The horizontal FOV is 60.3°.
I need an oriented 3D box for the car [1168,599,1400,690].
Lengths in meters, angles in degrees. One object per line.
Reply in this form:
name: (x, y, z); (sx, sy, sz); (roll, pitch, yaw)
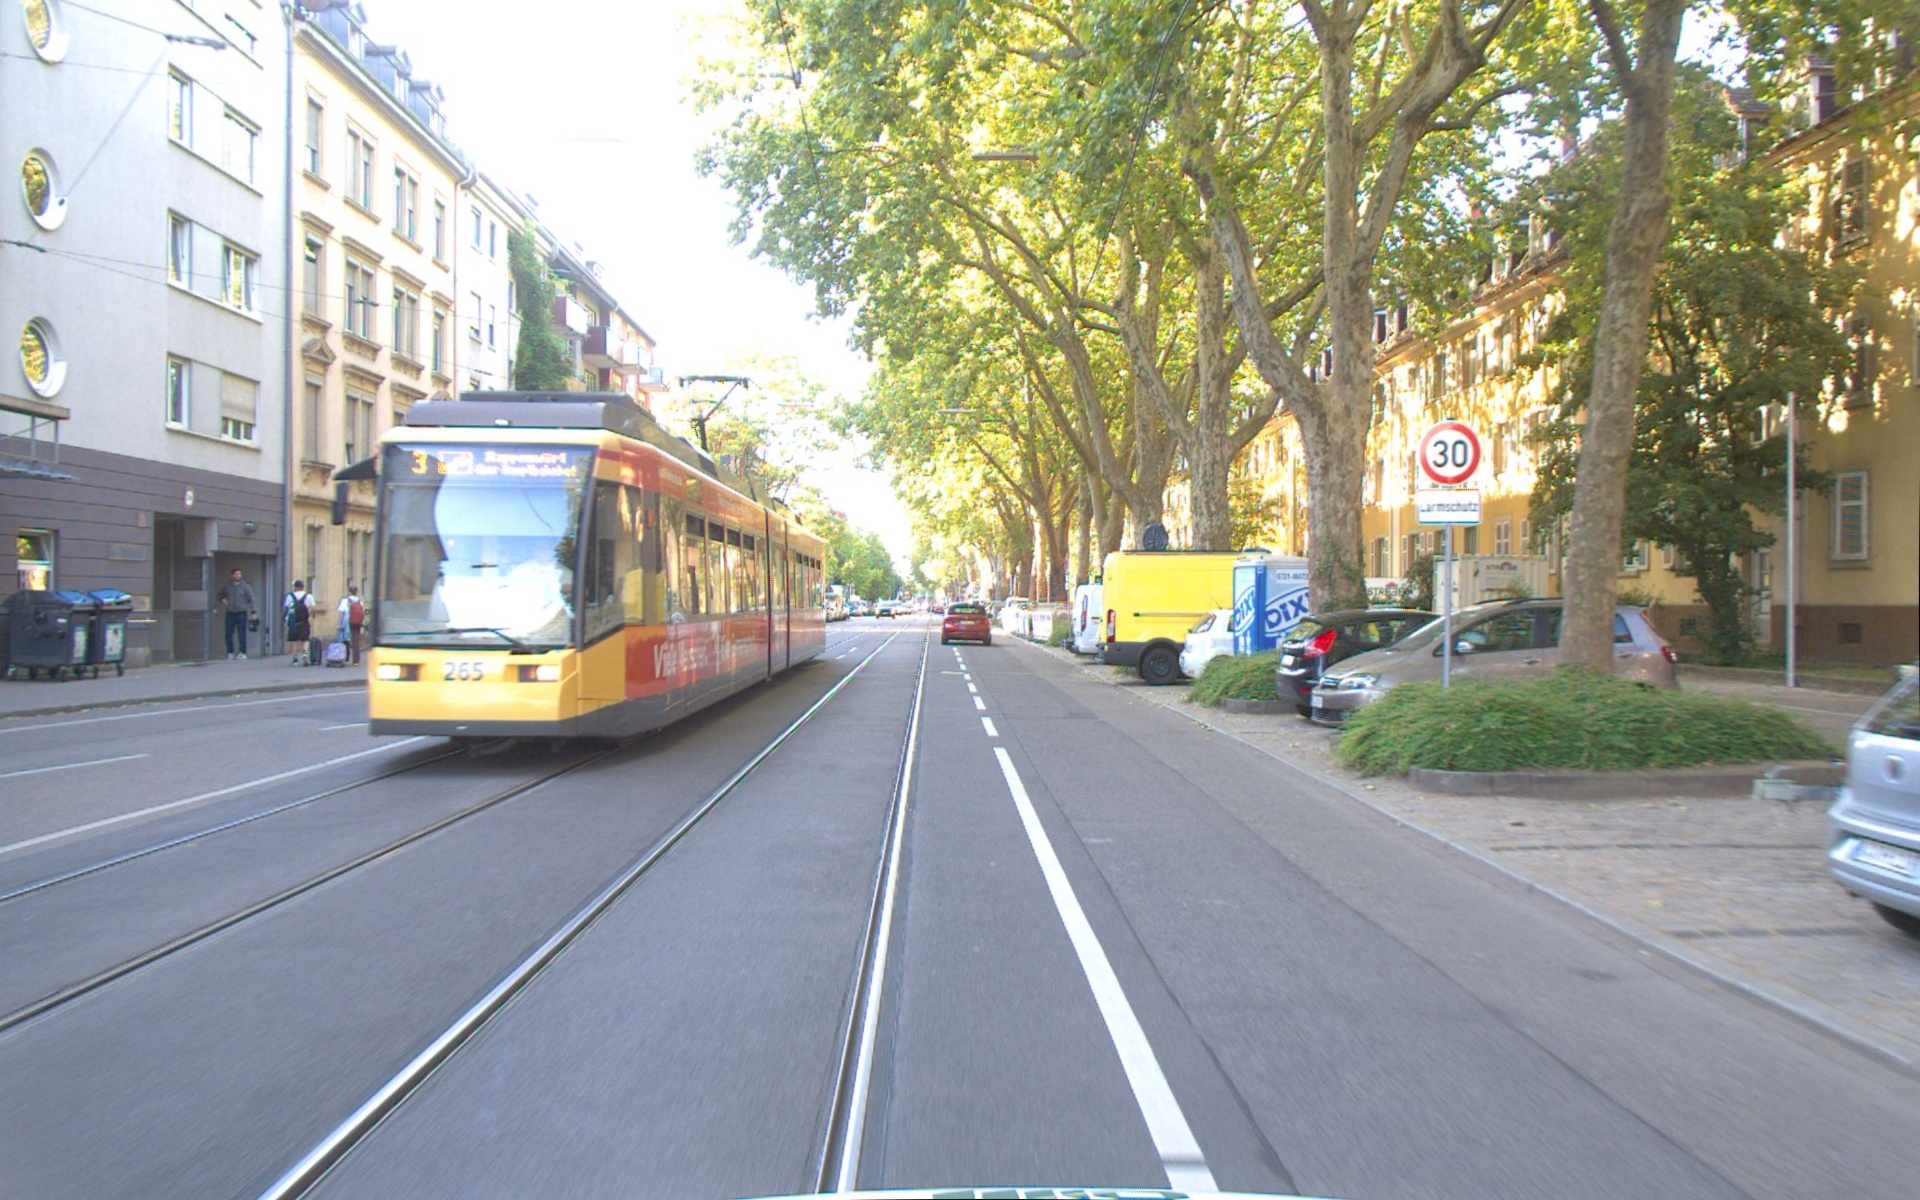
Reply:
car: (5.776, 0.779, 29.829); (3.825, 1.515, 1.863); (-1, 0, 1)

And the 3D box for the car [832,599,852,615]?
car: (-11.675, 0.683, 163.845); (1.799, 1.494, 5.066); (2, 0, -3)

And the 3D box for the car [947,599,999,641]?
car: (0.428, 0.681, 58.181); (1.756, 1.413, 4.236); (1, 0, 0)

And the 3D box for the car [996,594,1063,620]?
car: (4.336, 0.439, 103.397); (4.006, 1.548, 1.915); (-1, -1, -2)

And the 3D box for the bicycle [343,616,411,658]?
bicycle: (-14.650, 0.916, 41.605); (0.633, 0.988, 2.140); (1, 0, 10)

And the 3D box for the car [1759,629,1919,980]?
car: (5.914, 0.854, 7.590); (3.576, 1.449, 1.865); (-2, 1, 0)

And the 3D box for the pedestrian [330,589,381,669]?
pedestrian: (-12.882, 0.606, 35.258); (0.712, 1.661, 0.687); (1, 0, 23)

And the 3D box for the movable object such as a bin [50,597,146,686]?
movable object such as a bin: (-14.580, 0.685, 28.000); (1.036, 1.476, 1.209); (0, 0, -5)

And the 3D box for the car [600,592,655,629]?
car: (-20.124, 0.623, 99.940); (1.972, 2.160, 4.677); (0, -1, -29)

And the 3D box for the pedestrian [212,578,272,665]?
pedestrian: (-15.623, 0.454, 35.990); (0.943, 1.845, 0.729); (1, 0, 0)

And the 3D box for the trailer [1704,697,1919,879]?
trailer: (6.371, 1.092, 10.136); (2.976, 0.919, 1.437); (-2, 0, 5)

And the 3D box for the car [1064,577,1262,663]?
car: (5.127, 0.491, 42.224); (4.737, 2.048, 2.063); (-1, 0, -1)

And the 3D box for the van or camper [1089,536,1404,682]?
van or camper: (5.537, 0.185, 32.645); (5.803, 2.675, 2.270); (-1, -1, 1)

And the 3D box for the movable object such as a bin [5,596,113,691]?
movable object such as a bin: (-14.439, 0.673, 26.545); (1.117, 1.476, 1.213); (0, 0, -5)

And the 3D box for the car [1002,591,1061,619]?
car: (4.677, 0.338, 107.685); (3.764, 1.803, 1.917); (-1, 0, 3)

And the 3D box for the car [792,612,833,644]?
car: (-7.304, 1.384, 82.175); (1.759, 1.471, 4.715); (1, 0, -2)

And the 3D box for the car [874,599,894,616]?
car: (-7.359, 0.721, 161.382); (1.816, 1.628, 4.462); (2, 0, -2)

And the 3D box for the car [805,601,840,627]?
car: (-8.203, 0.831, 99.042); (1.759, 1.471, 4.052); (-2, 0, -1)

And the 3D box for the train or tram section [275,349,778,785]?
train or tram section: (-4.281, -0.292, 20.240); (2.849, 3.547, 13.366); (-1, 0, -1)

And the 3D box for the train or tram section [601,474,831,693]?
train or tram section: (-4.531, -0.292, 34.053); (2.849, 3.547, 14.195); (-1, 0, -1)

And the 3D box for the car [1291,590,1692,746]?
car: (6.013, 0.742, 19.033); (3.994, 1.577, 1.830); (-2, 0, -2)

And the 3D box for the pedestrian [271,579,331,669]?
pedestrian: (-13.675, 0.489, 34.327); (0.846, 1.816, 0.736); (1, 0, 17)

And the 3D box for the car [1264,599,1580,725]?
car: (5.964, 0.769, 21.600); (3.581, 1.451, 1.736); (-2, 0, -5)

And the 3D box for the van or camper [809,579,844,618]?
van or camper: (-11.298, -0.143, 140.644); (2.290, 3.094, 6.397); (3, 0, 0)

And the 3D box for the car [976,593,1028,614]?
car: (3.610, 0.307, 142.426); (4.402, 1.630, 2.028); (-2, 0, 3)

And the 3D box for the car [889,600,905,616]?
car: (-7.734, 0.942, 203.392); (1.853, 1.864, 4.894); (-1, 0, -1)
